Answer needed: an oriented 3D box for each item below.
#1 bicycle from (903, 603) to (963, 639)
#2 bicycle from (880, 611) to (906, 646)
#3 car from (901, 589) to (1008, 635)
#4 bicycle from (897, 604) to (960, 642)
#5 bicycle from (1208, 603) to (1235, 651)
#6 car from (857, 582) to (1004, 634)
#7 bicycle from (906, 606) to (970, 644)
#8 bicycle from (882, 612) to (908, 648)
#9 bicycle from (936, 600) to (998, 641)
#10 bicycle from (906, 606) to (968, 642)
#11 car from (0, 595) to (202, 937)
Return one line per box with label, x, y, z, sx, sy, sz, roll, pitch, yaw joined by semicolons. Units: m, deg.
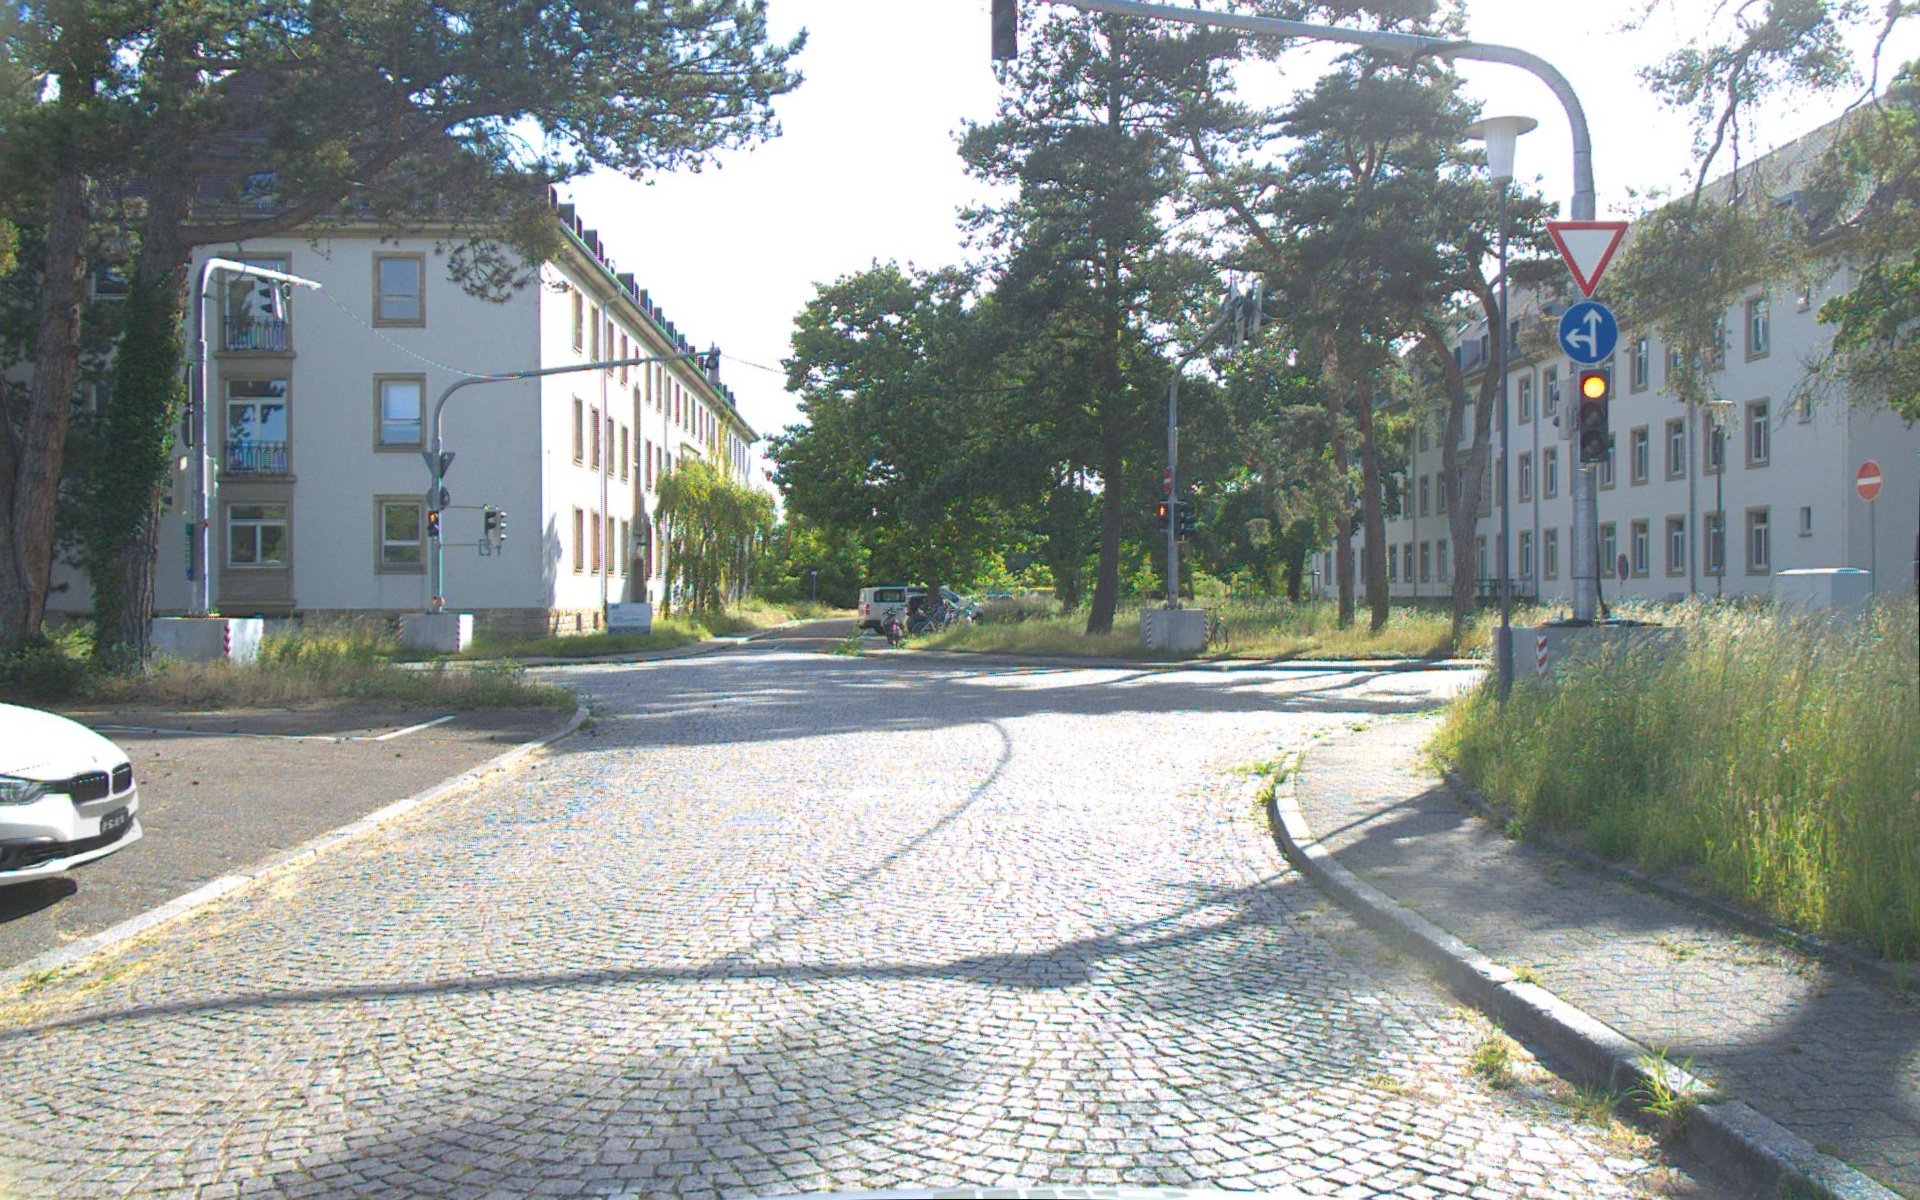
bicycle;-0.874;0.670;53.305;1.904;1.149;0.646;0;0;-8
bicycle;-1.975;0.830;48.597;0.682;0.988;1.859;0;0;-4
car;-0.243;0.451;63.986;3.914;1.713;1.843;0;0;-10
bicycle;-0.991;0.717;52.200;1.919;1.149;0.641;0;0;-29
bicycle;6.064;0.627;38.328;0.456;1.099;1.174;0;0;1
car;-1.252;0.309;68.141;5.821;2.049;2.470;0;0;-9
bicycle;-0.683;0.765;50.995;1.903;1.149;0.749;0;0;-5
bicycle;-1.842;0.837;46.659;0.682;0.988;1.859;0;0;-4
bicycle;0.207;0.646;51.734;1.903;1.257;0.485;0;0;-5
bicycle;-0.701;0.722;50.196;1.818;1.049;0.749;0;0;-5
car;-6.397;0.680;8.141;4.452;1.493;1.751;2;0;-5
